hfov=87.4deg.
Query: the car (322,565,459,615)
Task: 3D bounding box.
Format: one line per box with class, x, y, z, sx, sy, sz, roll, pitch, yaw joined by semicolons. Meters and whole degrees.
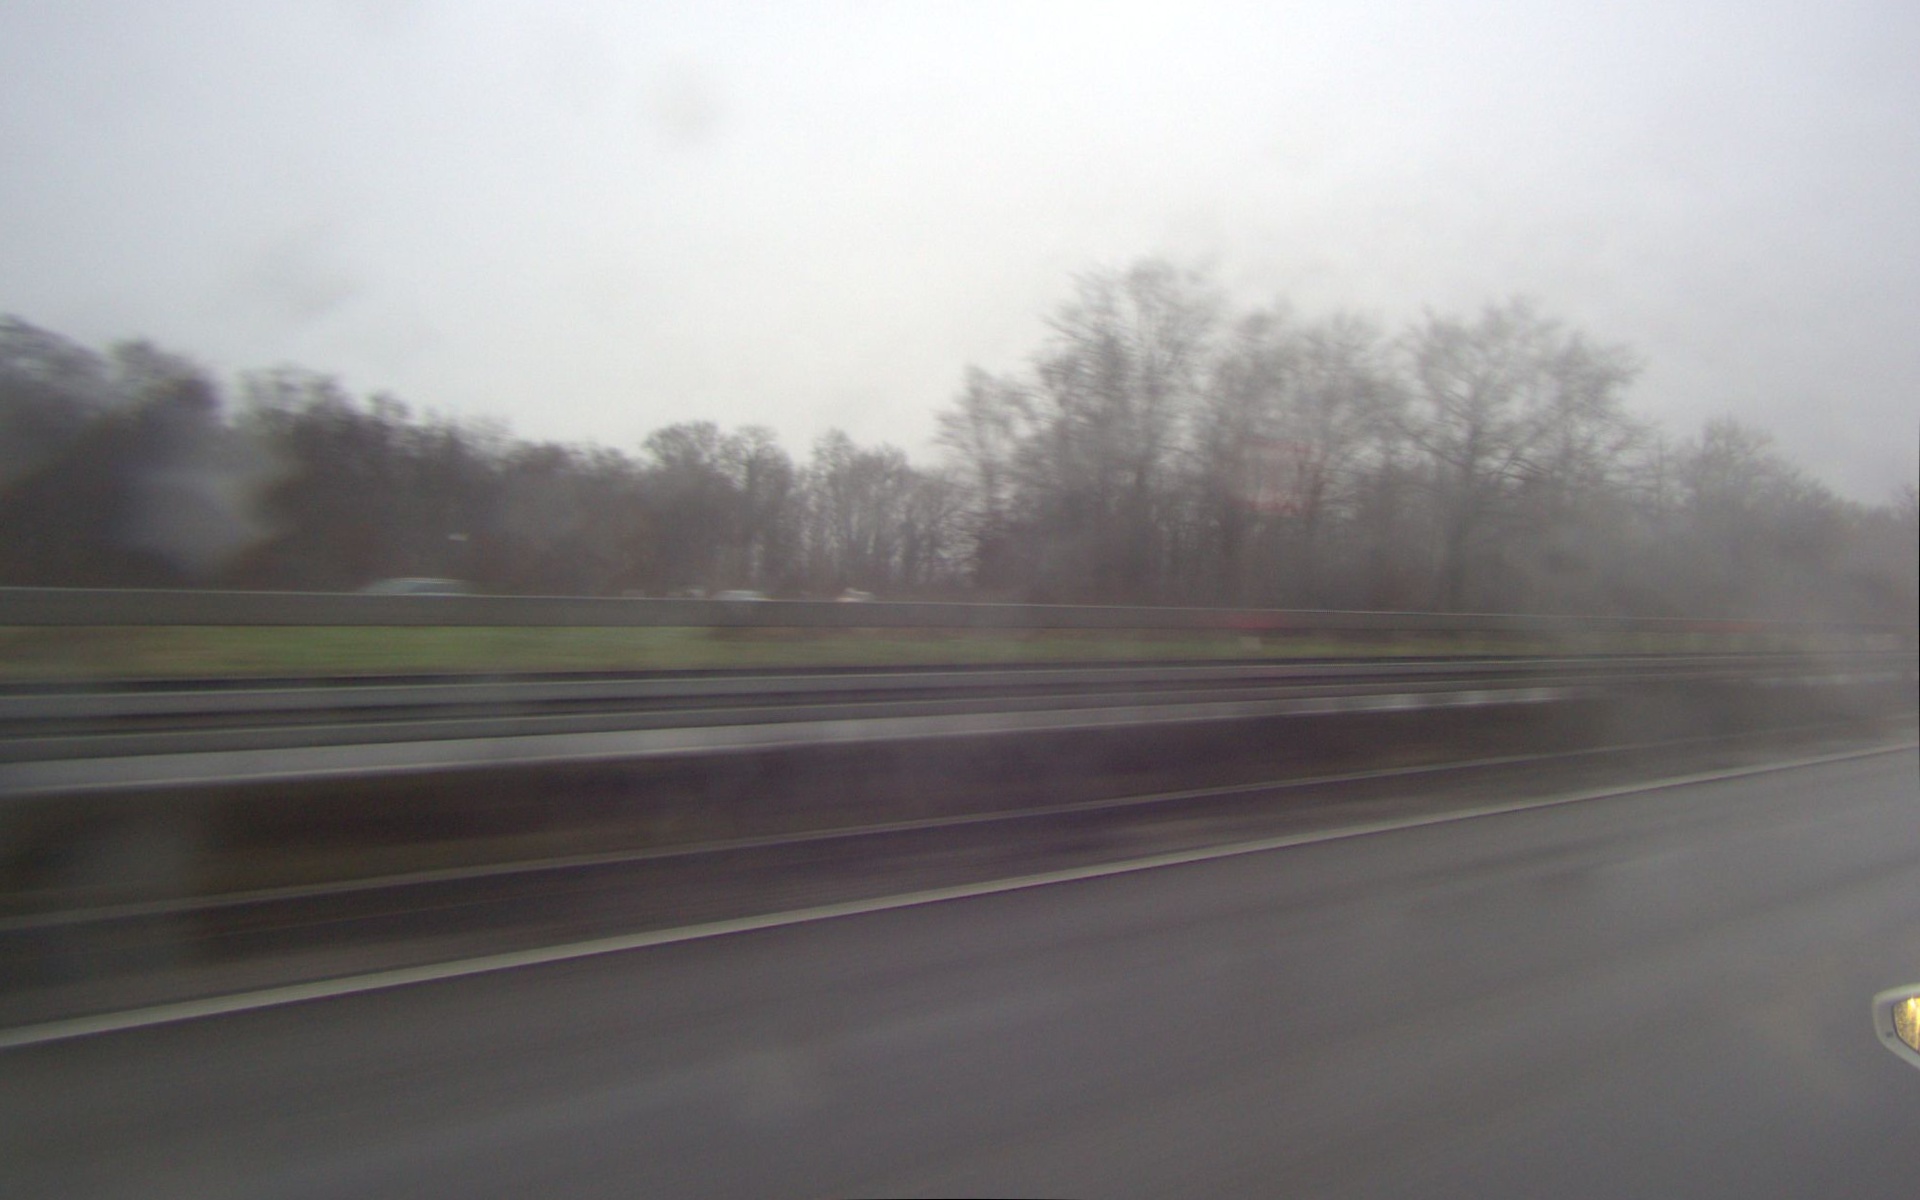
car;-21.034;-0.333;37.249;1.964;1.734;3.994;1;0;28
